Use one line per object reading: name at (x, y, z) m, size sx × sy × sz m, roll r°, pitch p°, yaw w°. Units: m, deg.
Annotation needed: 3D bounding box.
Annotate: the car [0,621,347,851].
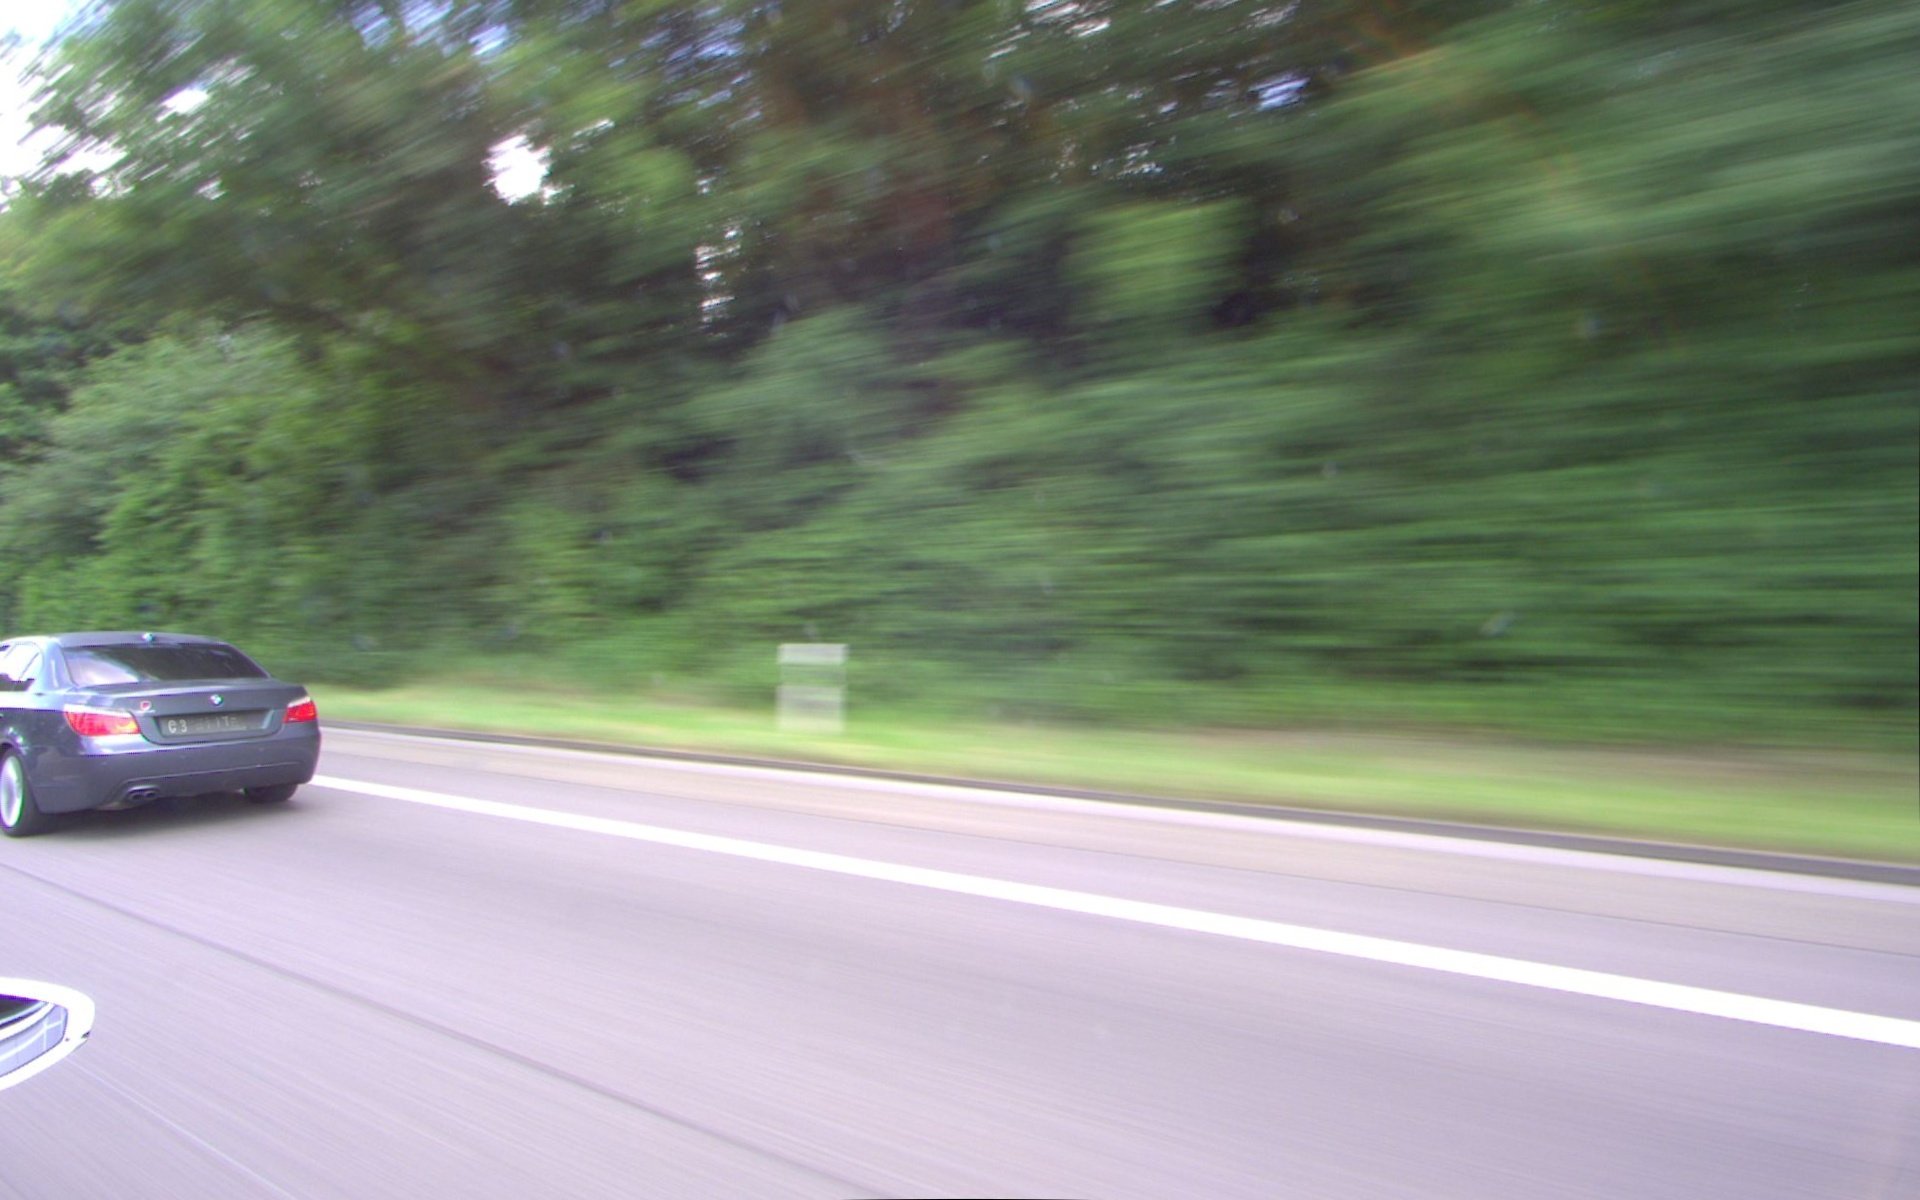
car at (-7.424, 0.939, 8.568) m, size 4.810 × 1.494 × 1.771 m, roll -1°, pitch -2°, yaw 32°
